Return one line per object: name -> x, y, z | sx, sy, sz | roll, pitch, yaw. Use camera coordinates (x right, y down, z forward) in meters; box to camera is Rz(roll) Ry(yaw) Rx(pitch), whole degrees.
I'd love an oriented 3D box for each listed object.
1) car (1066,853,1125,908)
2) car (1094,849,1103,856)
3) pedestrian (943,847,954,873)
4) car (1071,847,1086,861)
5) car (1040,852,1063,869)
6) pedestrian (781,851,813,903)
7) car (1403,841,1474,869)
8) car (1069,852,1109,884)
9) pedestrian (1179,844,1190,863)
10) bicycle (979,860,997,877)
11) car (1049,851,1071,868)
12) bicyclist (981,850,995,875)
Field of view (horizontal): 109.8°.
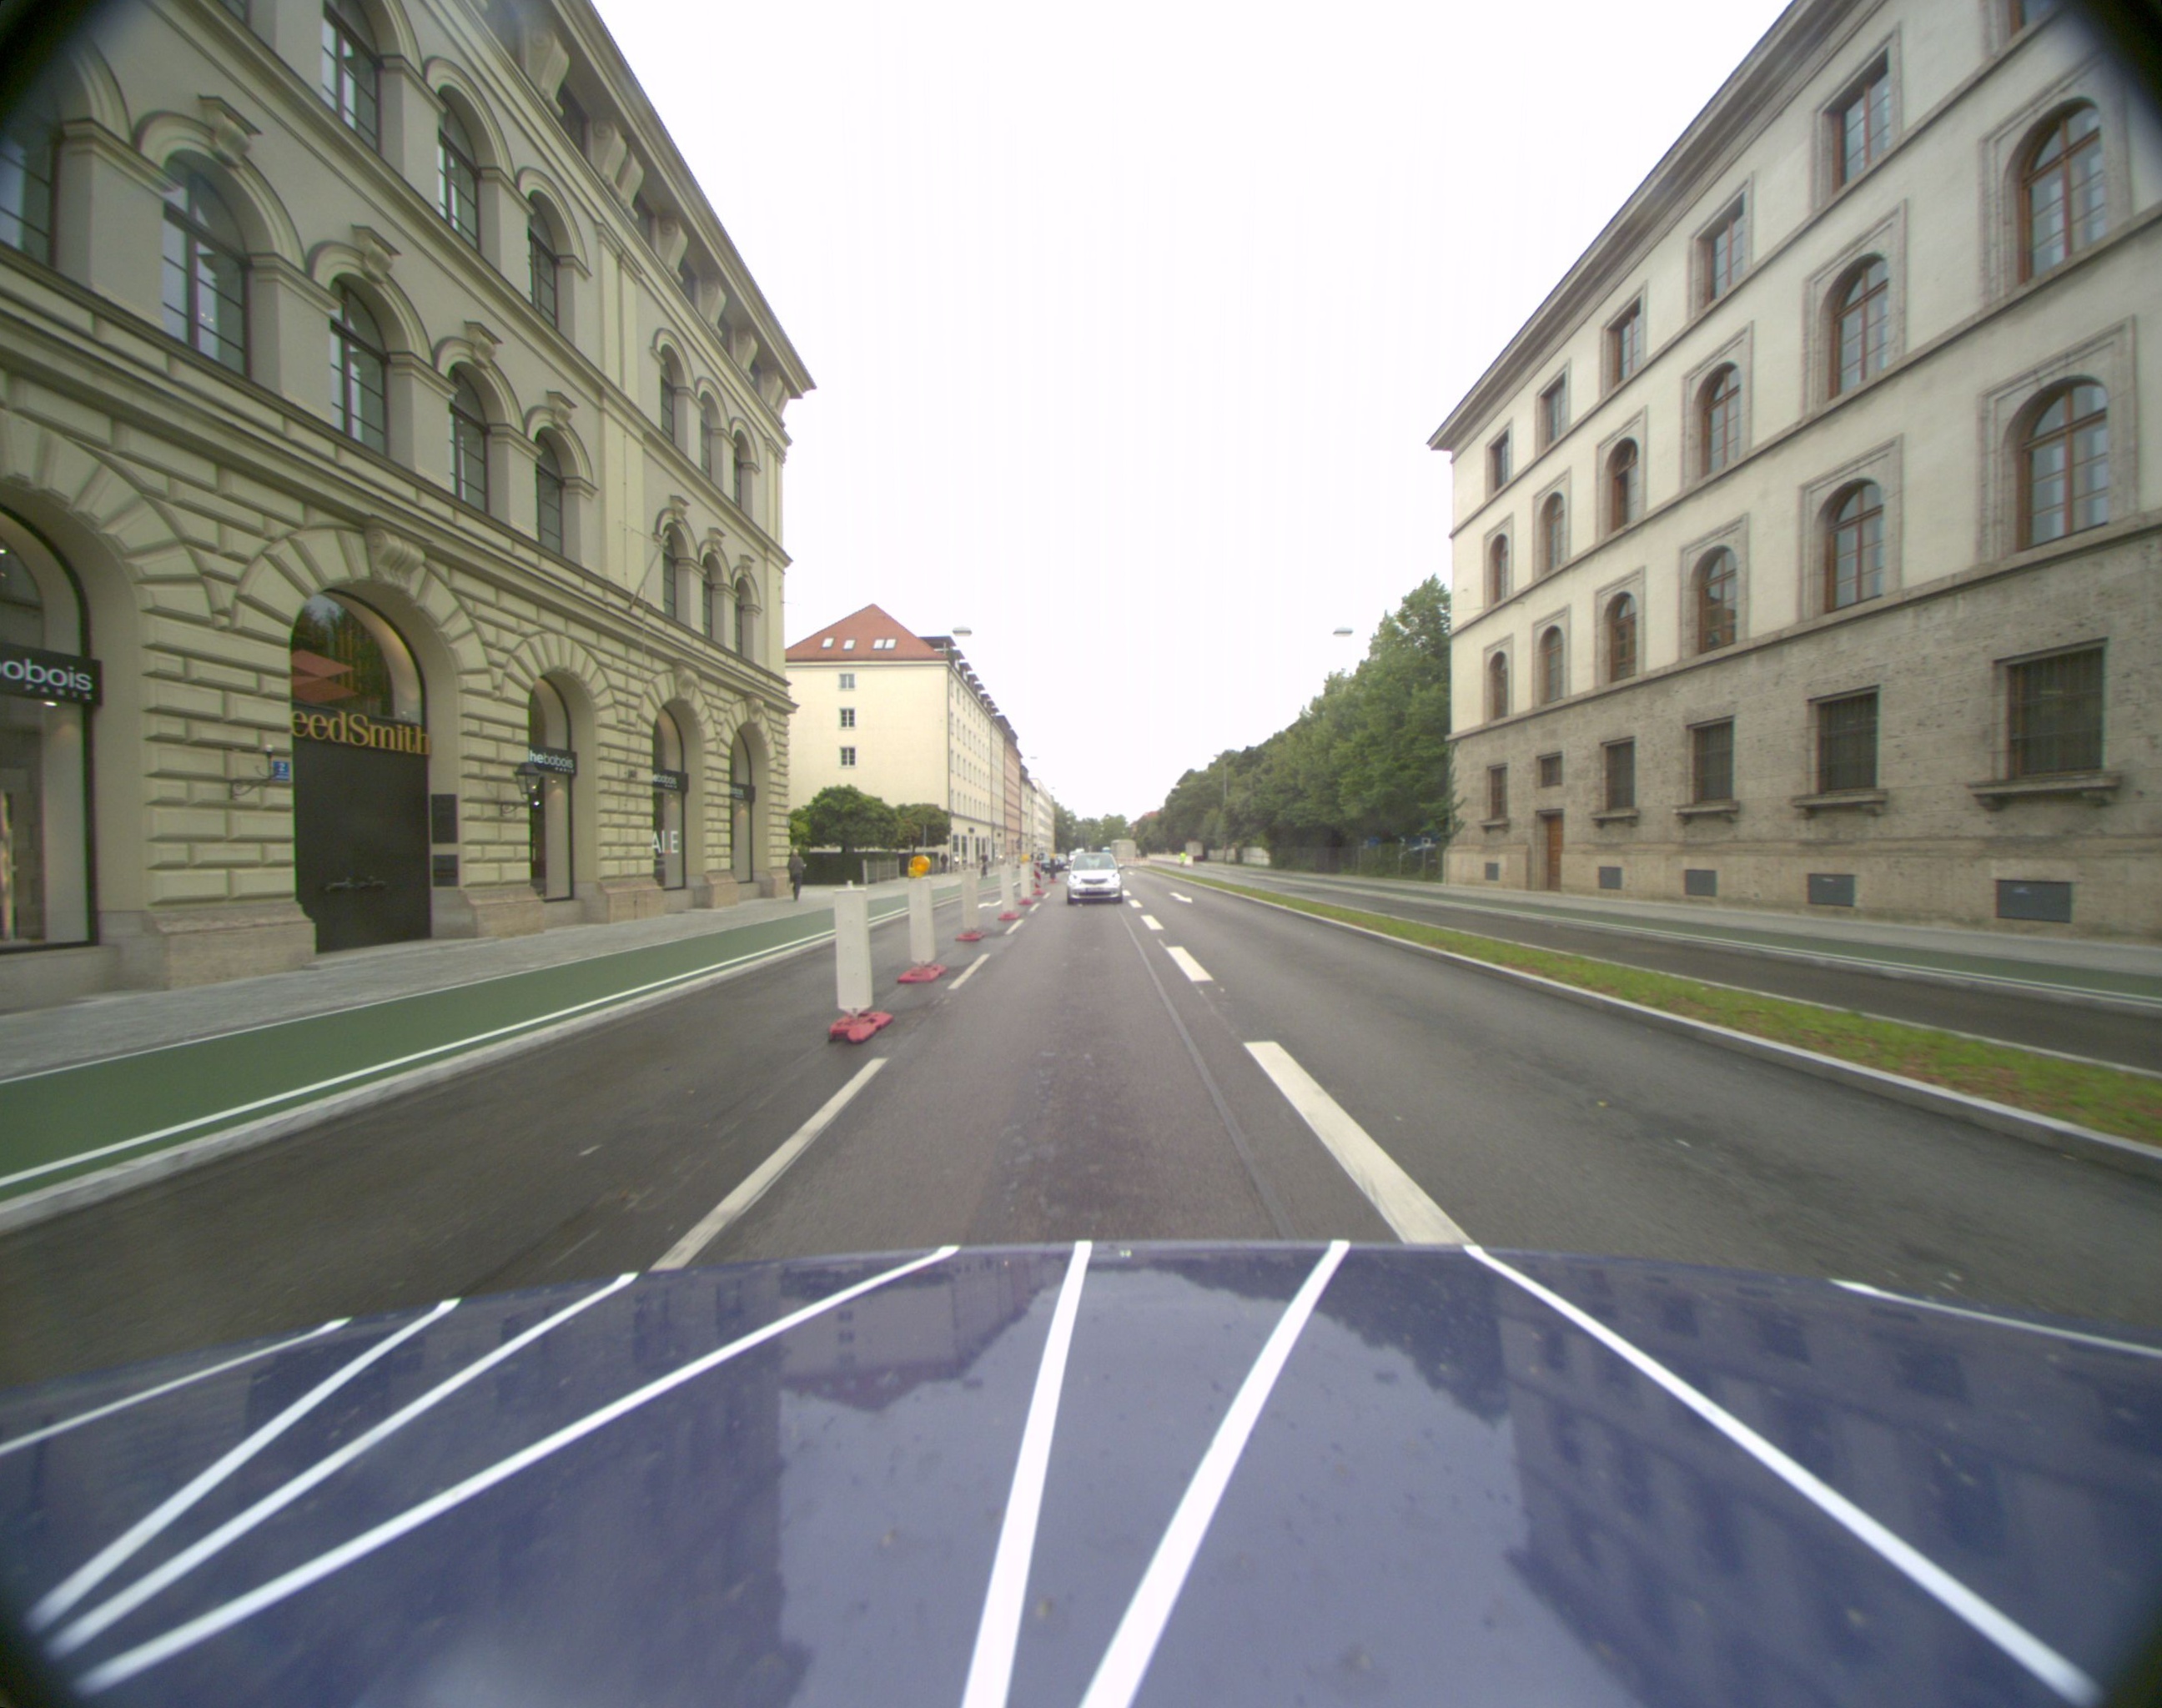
car -> 0.440, 0.747, 23.658 | 1.633, 1.495, 4.000 | -1, 0, 1
car -> 3.520, -0.348, 155.055 | 1.739, 1.425, 4.000 | -1, 0, 1
pedestrian -> -9.466, 0.403, 54.243 | 0.655, 1.863, 0.826 | 1, 1, 1
car -> -0.331, 0.029, 112.068 | 1.998, 2.002, 4.000 | -1, 1, 1
car -> -2.438, 0.489, 63.578 | 1.739, 1.313, 4.000 | -1, 0, 1
pedestrian -> -9.383, 0.741, 25.172 | 0.634, 1.695, 1.085 | 0, 1, 0
car -> 24.831, 0.055, 52.903 | 4.036, 1.700, 1.875 | -2, 3, 5
car -> 0.420, 0.683, 39.383 | 1.922, 1.433, 4.306 | -3, 1, 1
pedestrian -> 11.194, -0.057, 82.251 | 0.758, 2.002, 0.866 | -2, 1, -18
bicycle -> -5.946, 0.906, 48.592 | 0.751, 1.026, 2.531 | -2, 1, 1
car -> -1.873, 0.481, 68.932 | 1.739, 1.425, 4.000 | -1, 0, 1
bicyclist -> -5.956, 0.535, 48.641 | 0.724, 1.543, 0.858 | -2, 1, 0
